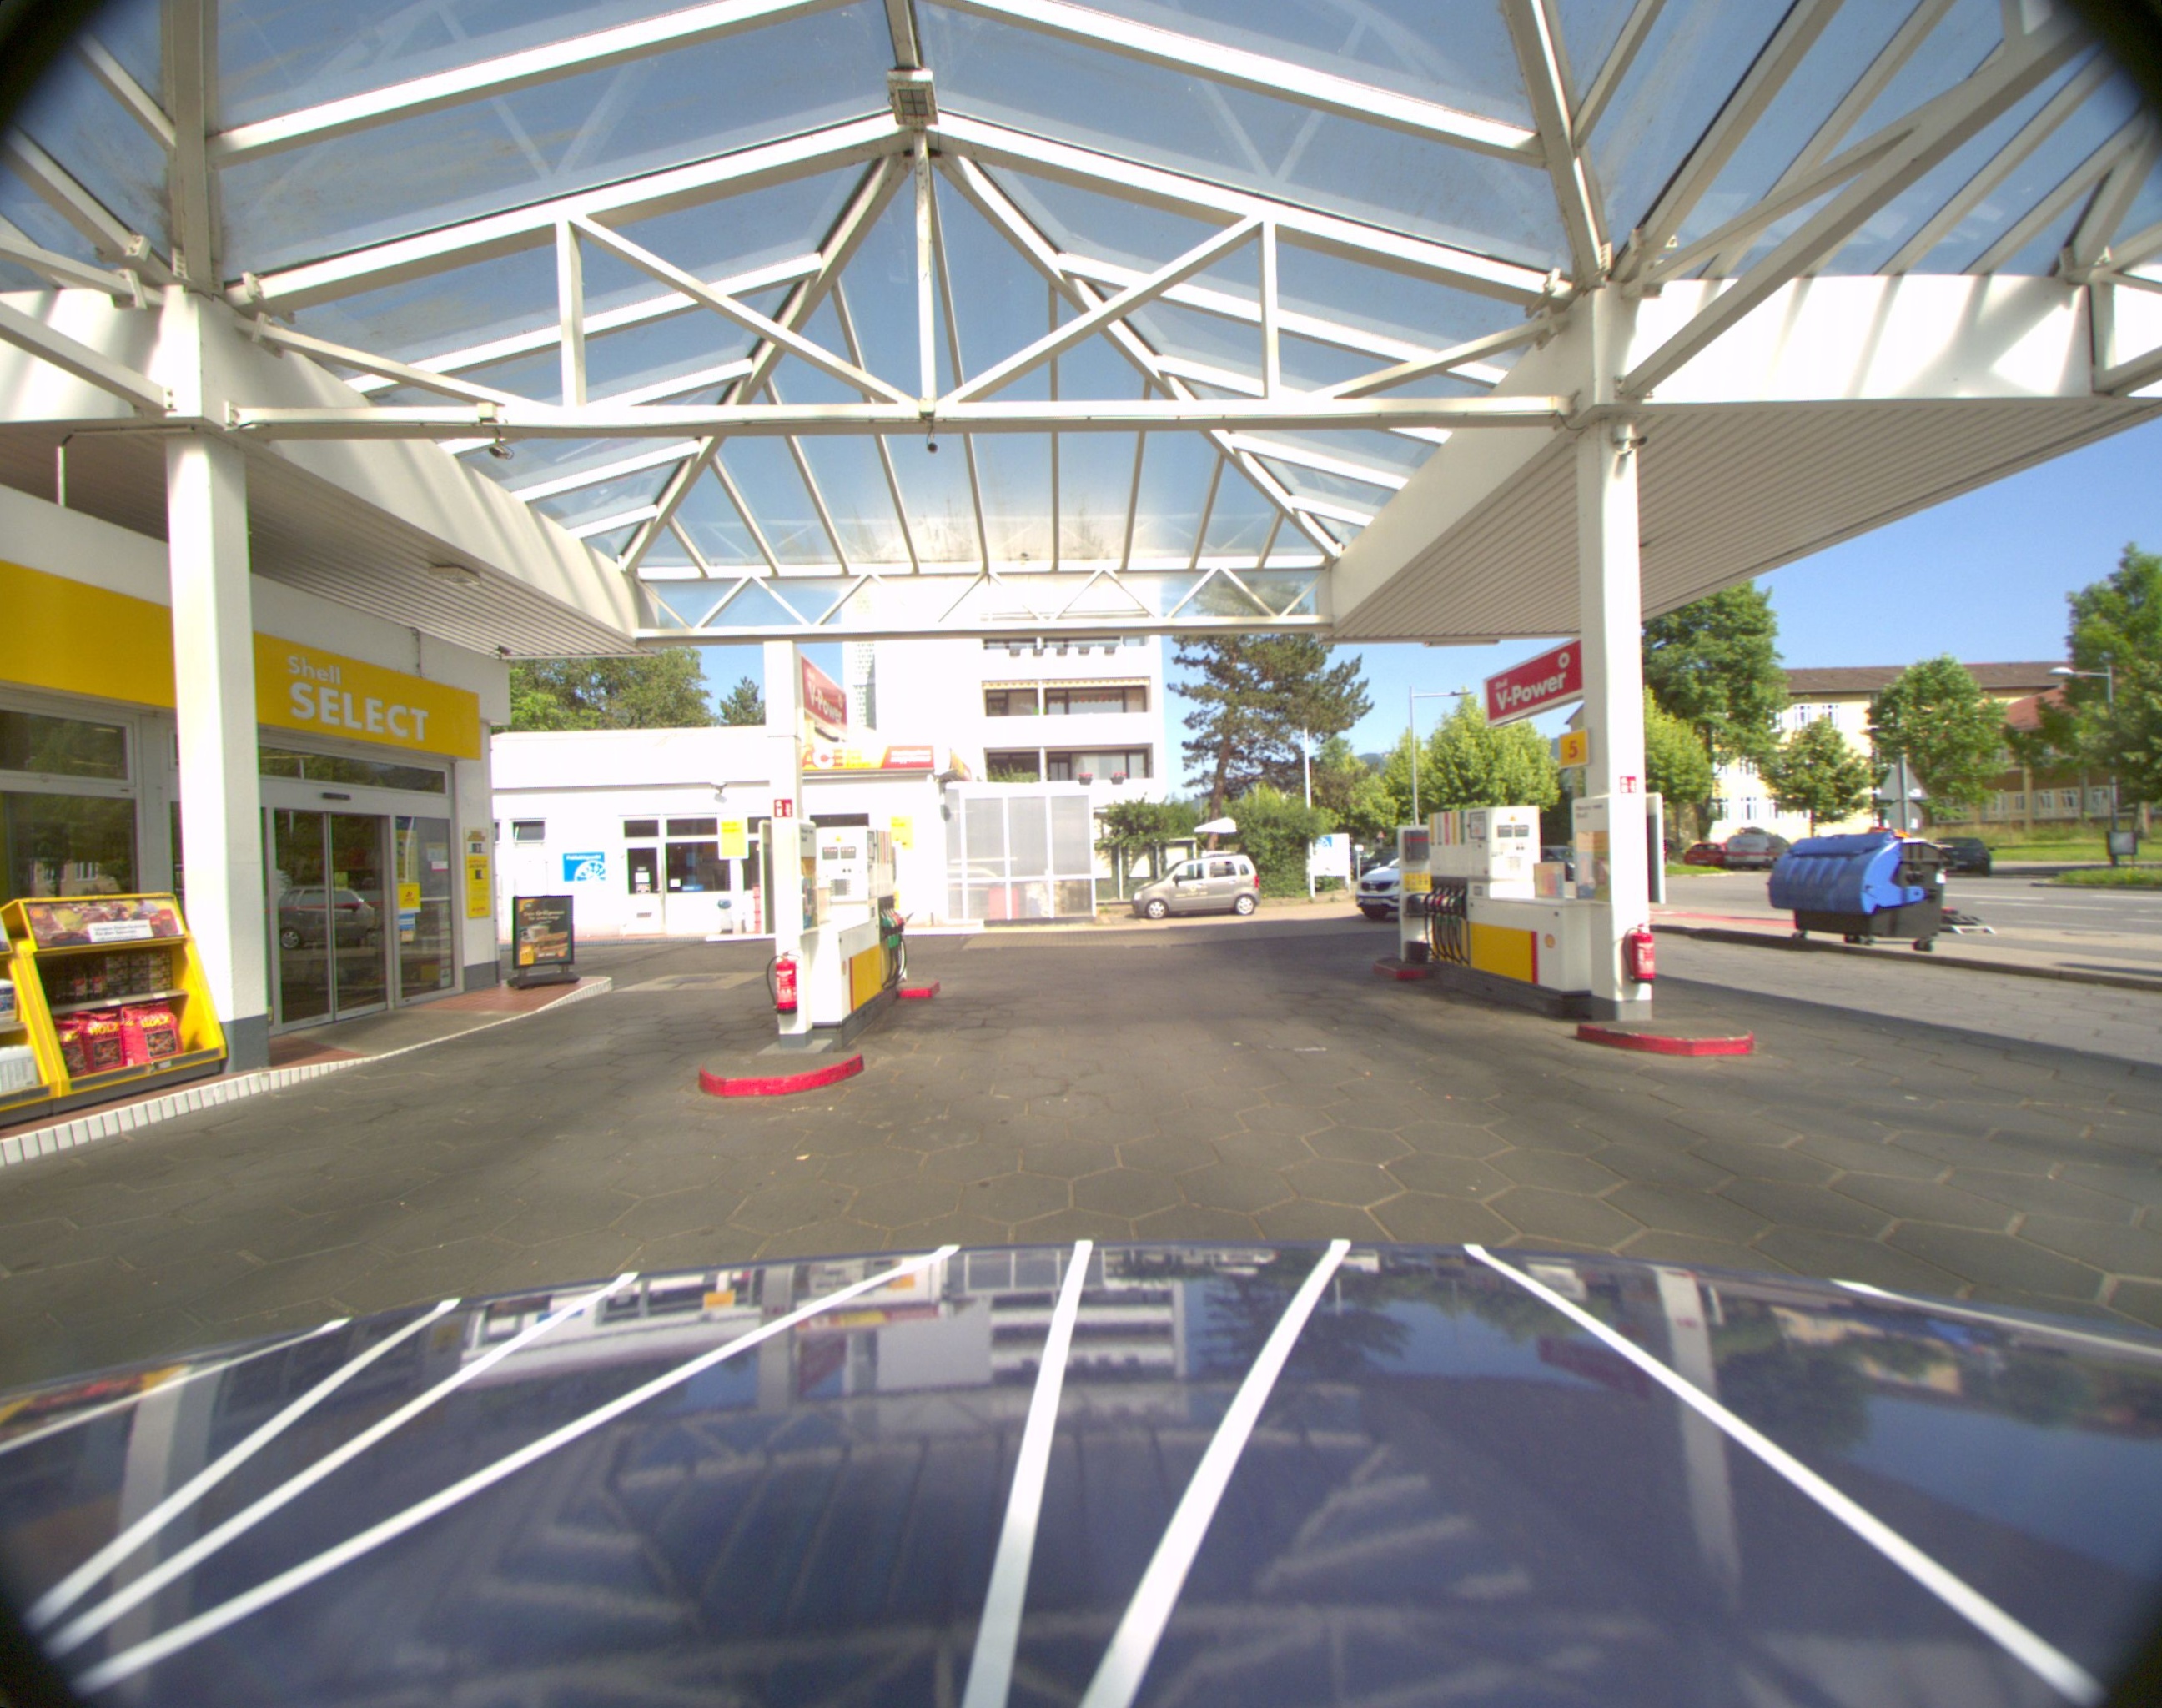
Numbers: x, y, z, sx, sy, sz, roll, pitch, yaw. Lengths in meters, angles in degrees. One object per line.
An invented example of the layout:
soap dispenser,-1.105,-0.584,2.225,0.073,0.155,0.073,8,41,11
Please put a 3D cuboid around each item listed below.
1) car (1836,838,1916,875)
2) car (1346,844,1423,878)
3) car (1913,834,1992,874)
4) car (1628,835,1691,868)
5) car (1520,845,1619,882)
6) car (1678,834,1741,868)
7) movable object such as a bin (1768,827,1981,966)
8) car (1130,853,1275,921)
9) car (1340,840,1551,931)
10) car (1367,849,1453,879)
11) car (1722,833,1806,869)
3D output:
car,33.785,0.066,32.252,4.234,1.451,1.876,-1,1,-37
car,16.696,0.358,41.730,4.411,1.710,1.700,-1,1,-34
car,33.722,0.007,29.364,4.234,1.451,1.737,0,0,-37
car,31.940,-0.166,41.922,4.234,1.712,1.876,-1,1,-40
car,21.324,0.380,33.403,1.568,1.459,4.378,-3,1,1
car,33.310,-0.149,40.241,4.234,1.712,1.876,-1,1,-40
movable object such as a bin,10.227,0.512,9.881,1.342,1.678,1.337,0,1,0
car,3.278,0.879,21.038,3.660,1.608,1.692,-3,0,0
car,8.026,0.625,16.673,4.313,1.696,1.958,-2,0,-28
car,17.154,0.488,39.551,4.232,1.473,1.877,-1,0,-28
car,33.504,-0.153,37.254,4.233,1.712,1.877,0,1,-31
